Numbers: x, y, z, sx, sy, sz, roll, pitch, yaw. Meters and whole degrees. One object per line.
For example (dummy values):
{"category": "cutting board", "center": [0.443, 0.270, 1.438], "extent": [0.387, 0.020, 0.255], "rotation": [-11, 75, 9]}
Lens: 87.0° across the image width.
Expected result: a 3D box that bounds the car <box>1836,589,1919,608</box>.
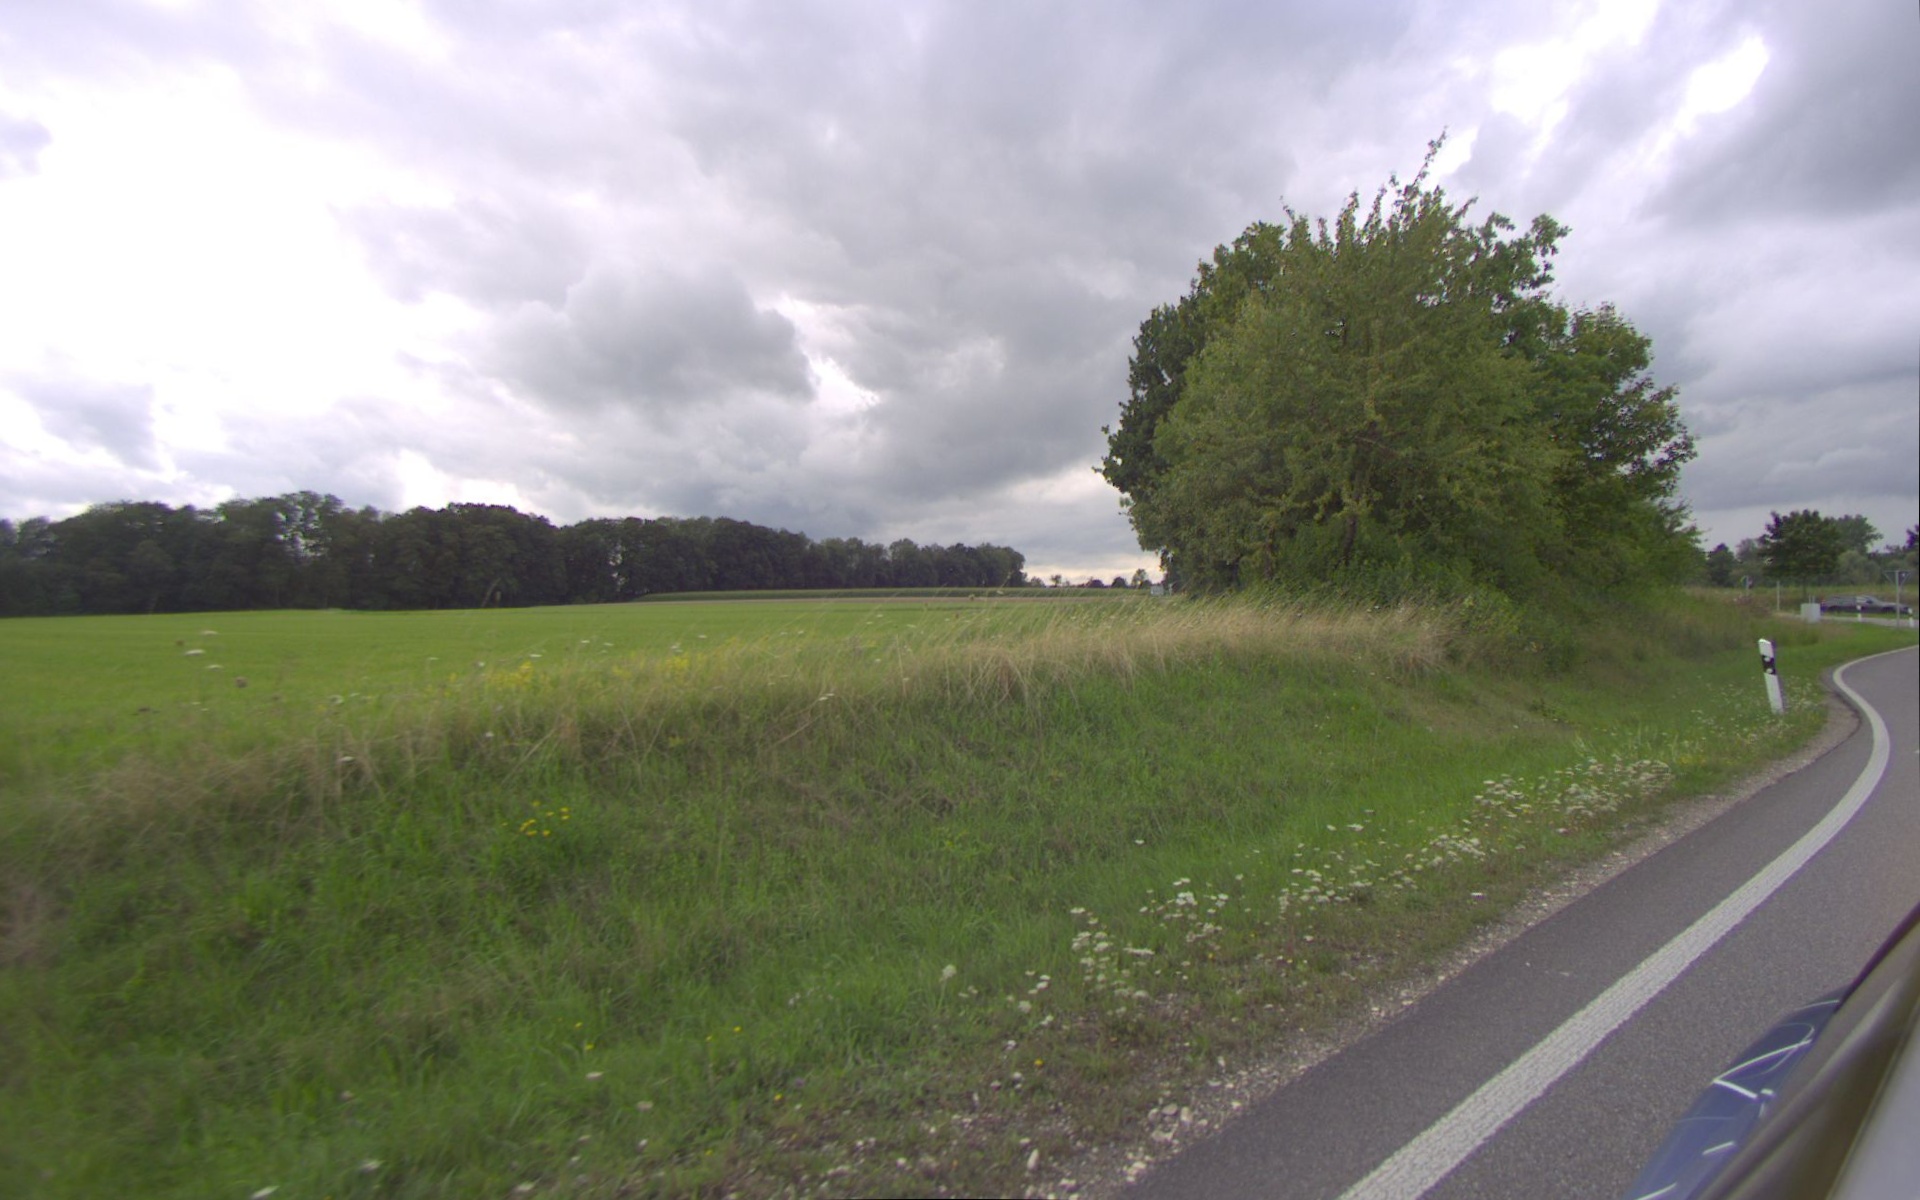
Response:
{"category": "car", "center": [60.861, -0.120, 66.794], "extent": [1.830, 1.237, 4.348], "rotation": [0, 0, -36]}
